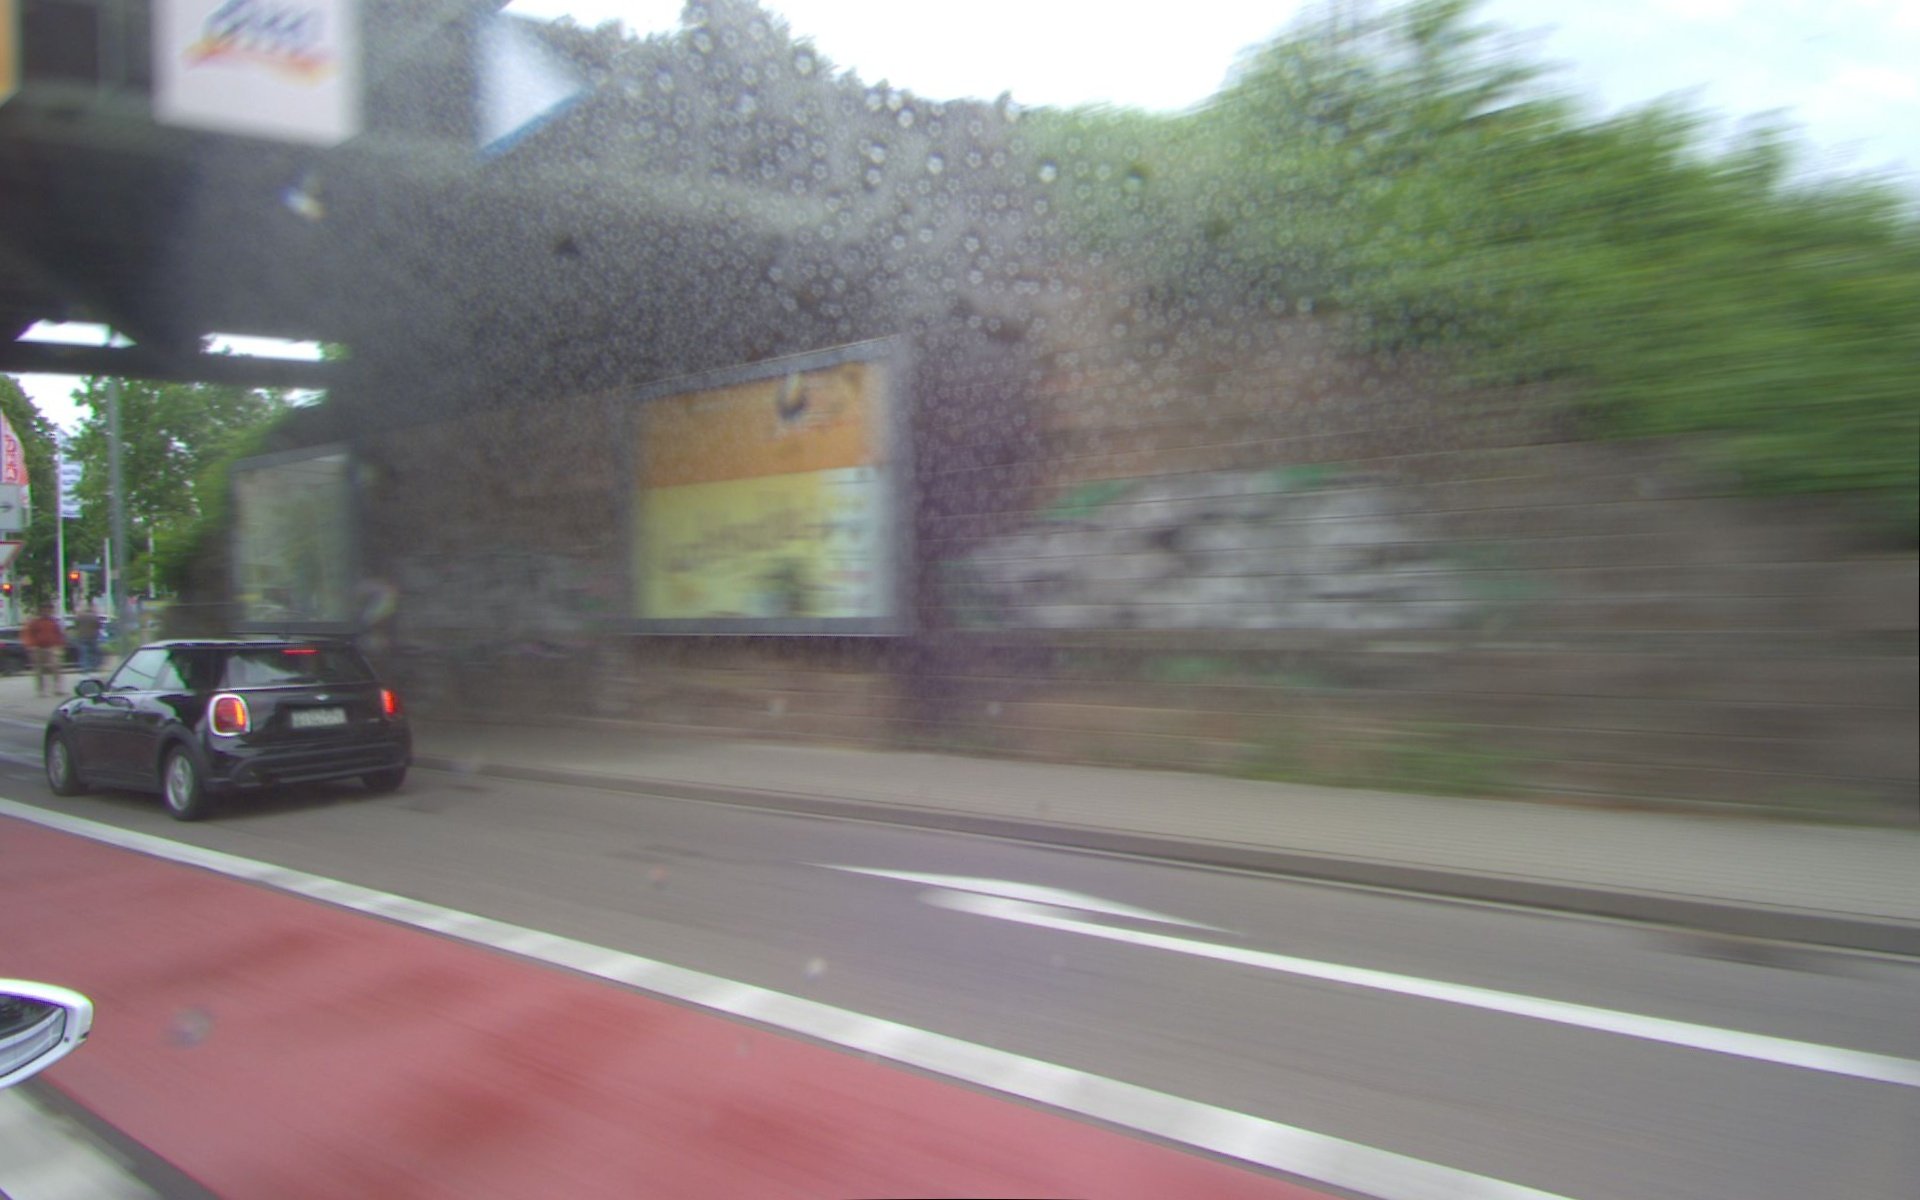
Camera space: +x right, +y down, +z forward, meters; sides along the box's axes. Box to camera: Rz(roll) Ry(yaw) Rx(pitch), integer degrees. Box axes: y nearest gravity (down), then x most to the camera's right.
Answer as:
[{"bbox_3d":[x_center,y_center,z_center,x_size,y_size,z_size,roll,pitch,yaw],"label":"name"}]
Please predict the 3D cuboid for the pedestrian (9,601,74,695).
[{"bbox_3d":[-18.037,0.925,19.686,0.864,1.783,0.781,-1,1,-40],"label":"pedestrian"}]

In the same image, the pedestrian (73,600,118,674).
[{"bbox_3d":[-19.768,0.835,22.912,0.736,1.662,0.772,-1,1,-41],"label":"pedestrian"}]

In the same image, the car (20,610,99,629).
[{"bbox_3d":[-74.959,1.640,83.392,1.929,1.516,4.529,-1,-2,27],"label":"car"}]

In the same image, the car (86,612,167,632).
[{"bbox_3d":[-64.386,1.738,77.458,1.901,1.516,4.442,-1,-2,27],"label":"car"}]

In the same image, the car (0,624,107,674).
[{"bbox_3d":[-26.483,1.354,28.326,1.620,1.297,3.420,0,-1,5],"label":"car"}]

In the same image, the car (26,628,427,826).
[{"bbox_3d":[-6.710,0.986,9.085,3.719,1.450,1.676,-1,-1,32],"label":"car"}]

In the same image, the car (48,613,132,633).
[{"bbox_3d":[-69.959,1.856,80.601,2.138,1.516,4.670,-1,-2,30],"label":"car"}]
